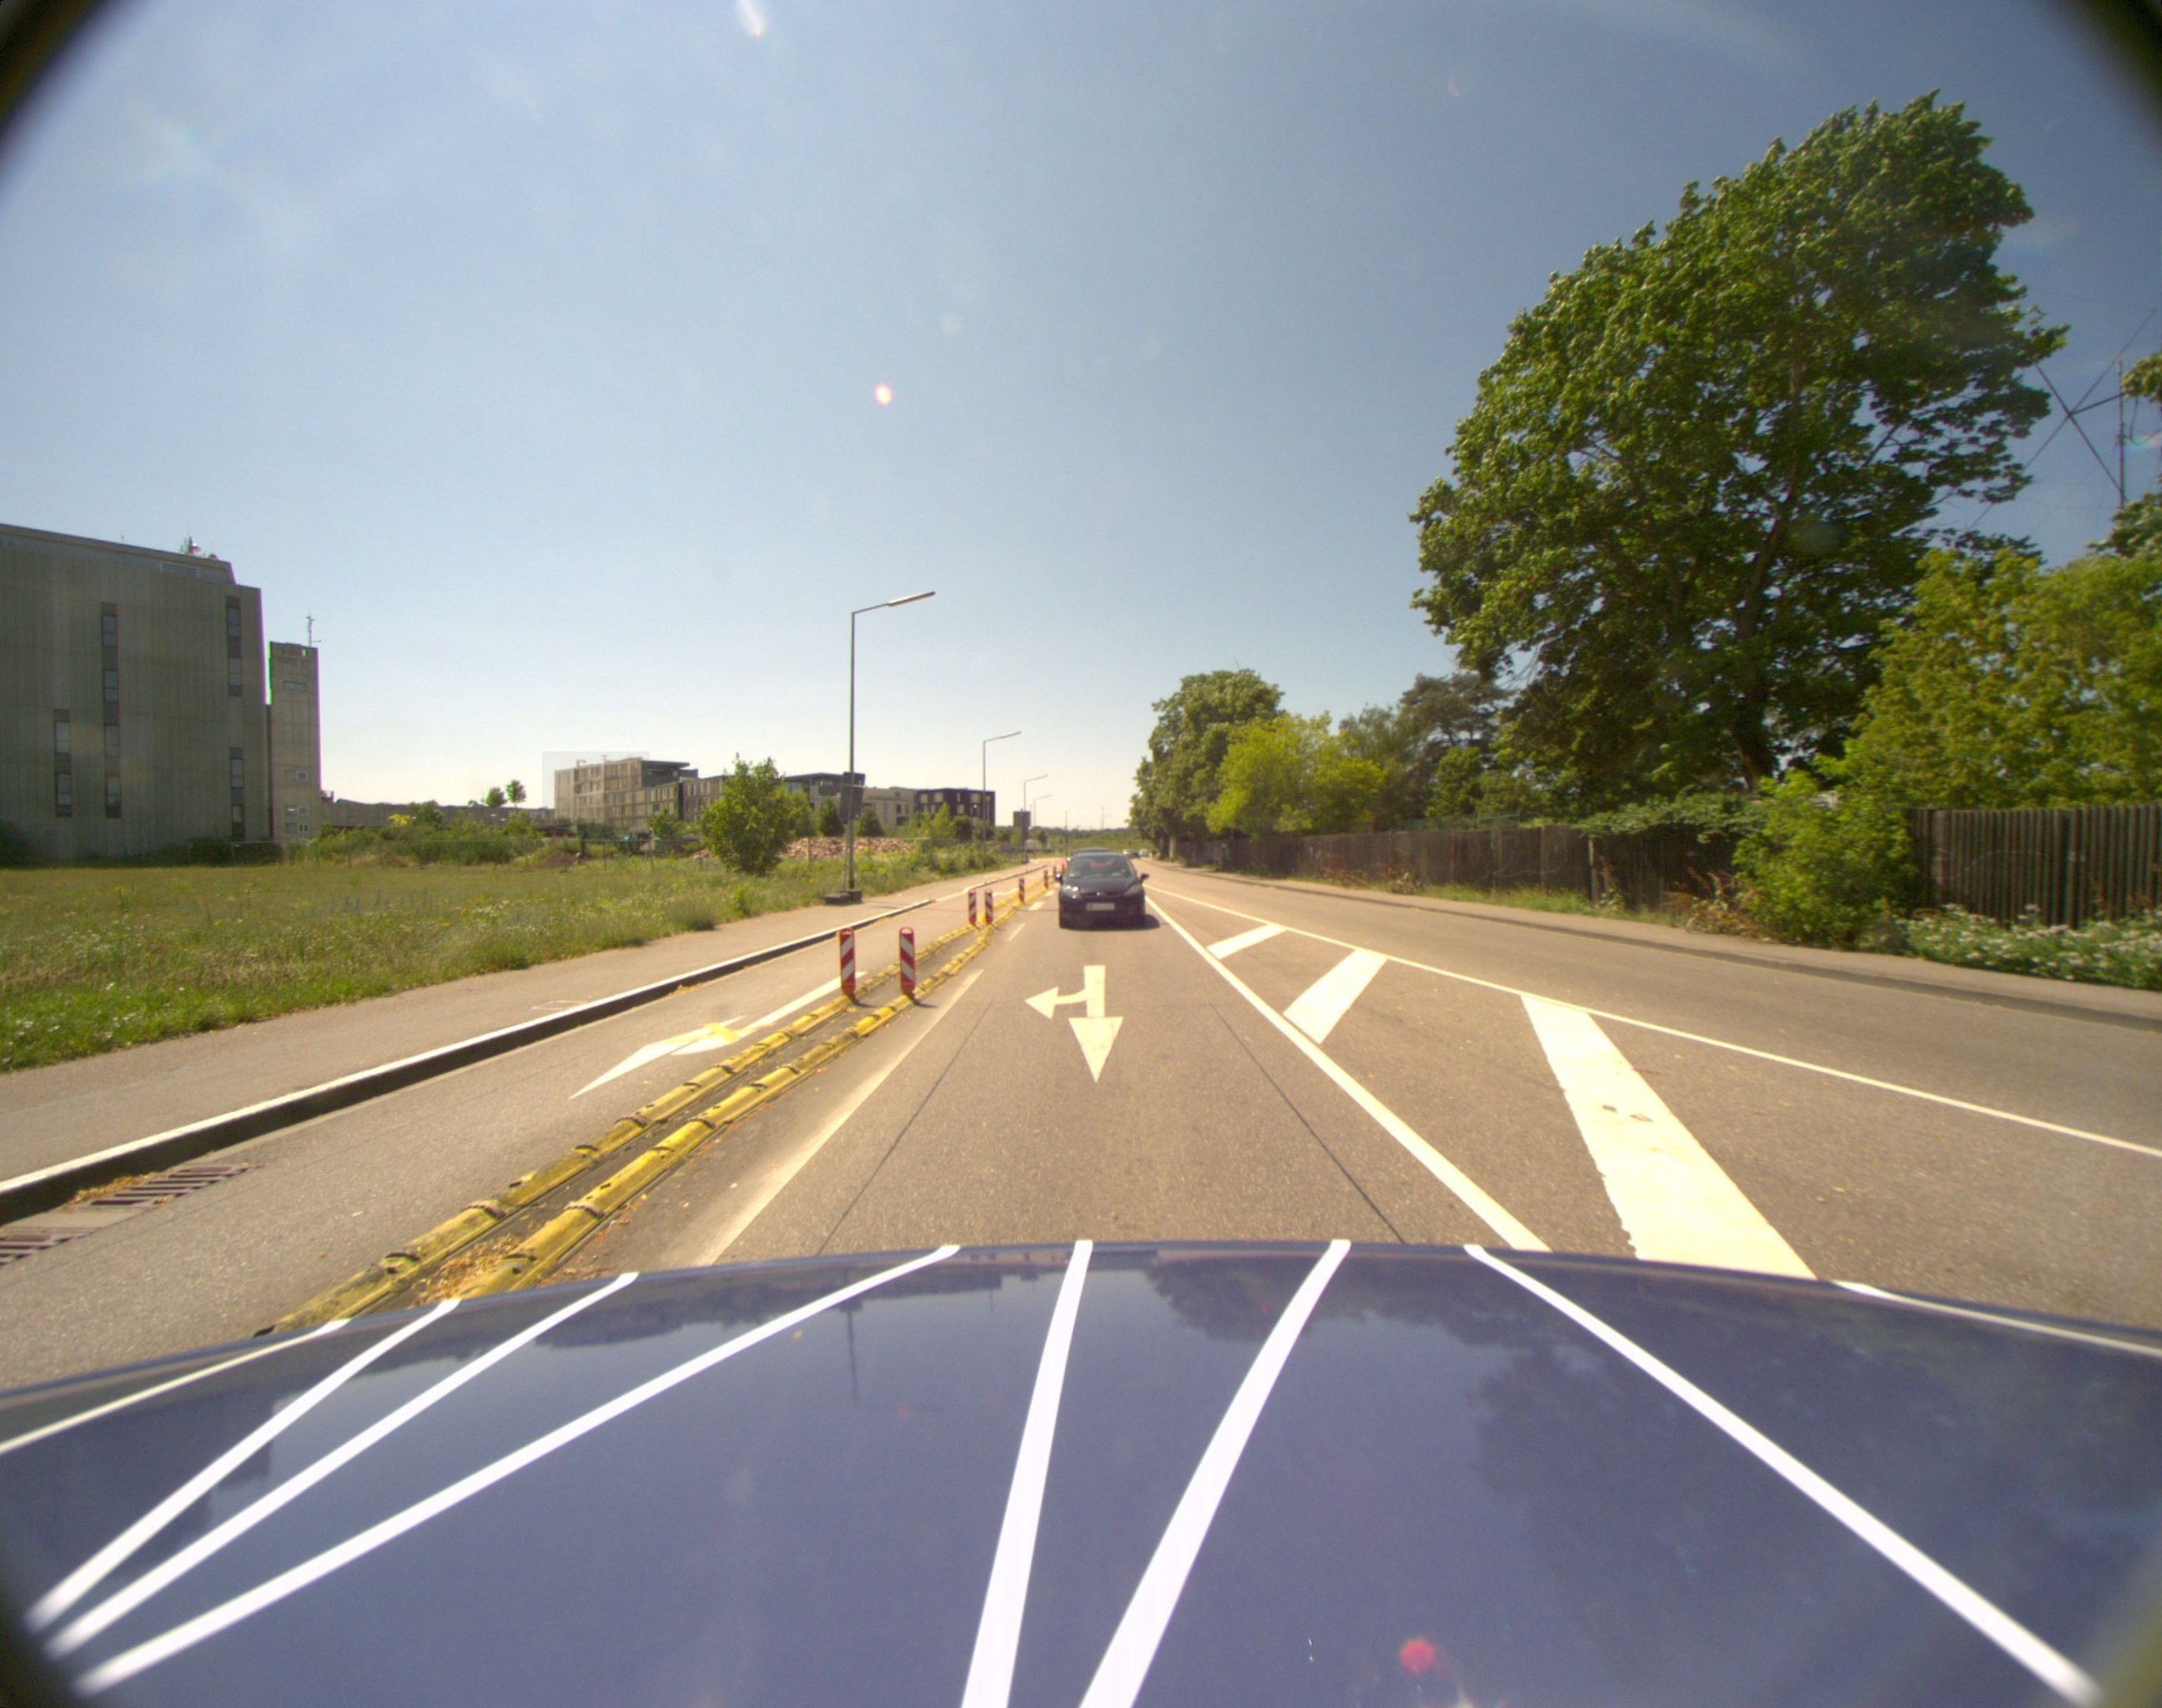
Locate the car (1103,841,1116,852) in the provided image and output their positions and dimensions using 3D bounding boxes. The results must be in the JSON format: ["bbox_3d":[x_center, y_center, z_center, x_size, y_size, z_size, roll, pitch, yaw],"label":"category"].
[{"bbox_3d":[4.304,-1.130,114.548,1.759,1.536,3.693,0,1,-1],"label":"car"}]

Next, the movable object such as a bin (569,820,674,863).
[{"bbox_3d":[-36.475,-1.011,60.703,2.810,3.131,7.608,-1,1,9],"label":"movable object such as a bin"}]

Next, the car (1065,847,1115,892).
[{"bbox_3d":[0.388,0.521,28.253,1.720,1.518,4.212,0,1,2],"label":"car"}]

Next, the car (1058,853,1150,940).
[{"bbox_3d":[0.464,0.755,15.365,1.632,1.499,3.819,0,1,2],"label":"car"}]

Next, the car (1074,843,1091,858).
[{"bbox_3d":[0.164,-0.418,79.133,1.759,1.536,3.693,0,1,-1],"label":"car"}]

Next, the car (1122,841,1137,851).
[{"bbox_3d":[7.621,-1.269,119.472,1.719,1.455,3.841,1,1,-4],"label":"car"}]
